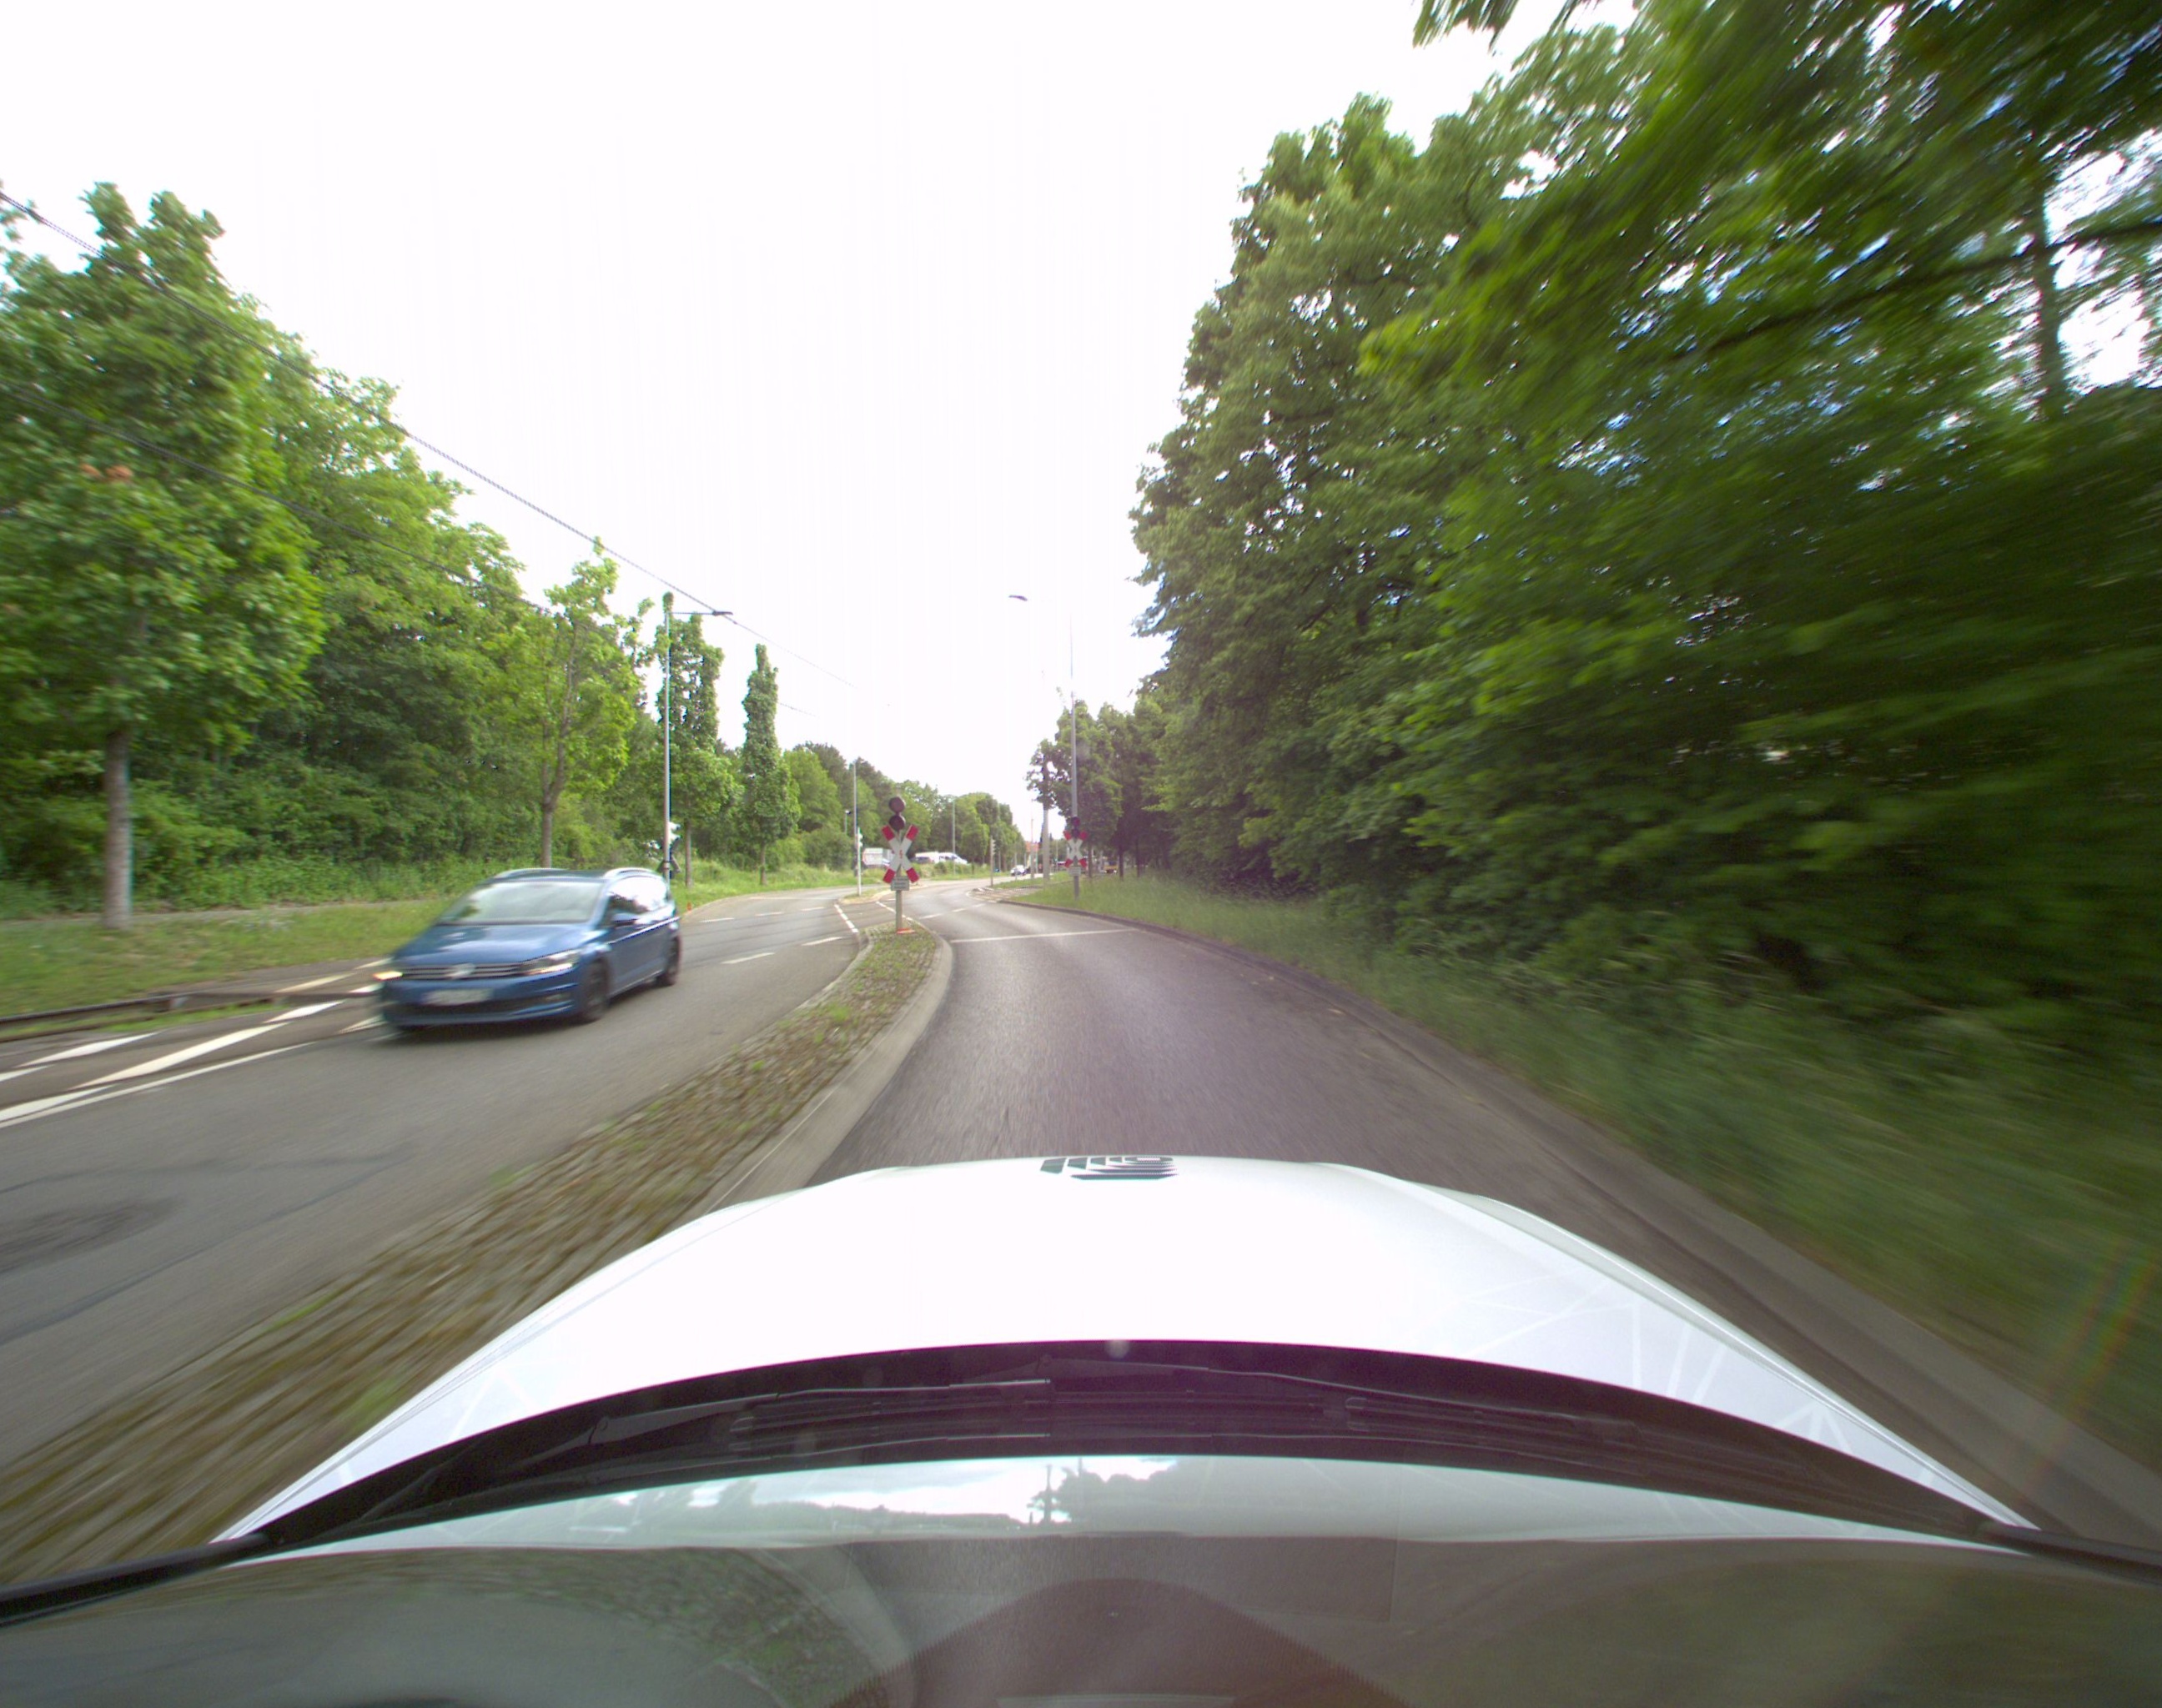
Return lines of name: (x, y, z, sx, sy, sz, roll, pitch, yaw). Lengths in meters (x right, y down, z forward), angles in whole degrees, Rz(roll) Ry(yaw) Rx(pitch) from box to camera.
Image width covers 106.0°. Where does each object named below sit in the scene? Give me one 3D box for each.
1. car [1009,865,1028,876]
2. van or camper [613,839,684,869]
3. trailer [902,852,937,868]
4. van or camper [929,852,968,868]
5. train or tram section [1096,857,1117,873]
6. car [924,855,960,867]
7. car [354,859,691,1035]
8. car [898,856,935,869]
car: (-8.877, 2.340, 115.608, 1.985, 1.438, 4.430, -2, -1, 3)
van or camper: (-28.321, 0.006, 53.527, 1.985, 1.877, 4.635, 0, 0, 4)
trailer: (-20.593, 0.745, 104.146, 3.968, 2.014, 1.910, 0, -1, 4)
van or camper: (-19.229, 0.871, 118.544, 5.313, 2.203, 2.001, 0, -1, 1)
train or tram section: (5.360, 2.363, 177.465, 2.999, 3.311, 34.694, 0, -1, -1)
car: (-19.811, 1.013, 116.024, 4.615, 1.656, 2.005, 0, -1, 9)
car: (-6.105, 0.851, 9.597, 1.869, 1.521, 4.219, 0, 0, -13)
car: (-20.394, 1.044, 101.085, 4.300, 1.449, 1.835, -2, -1, -2)
